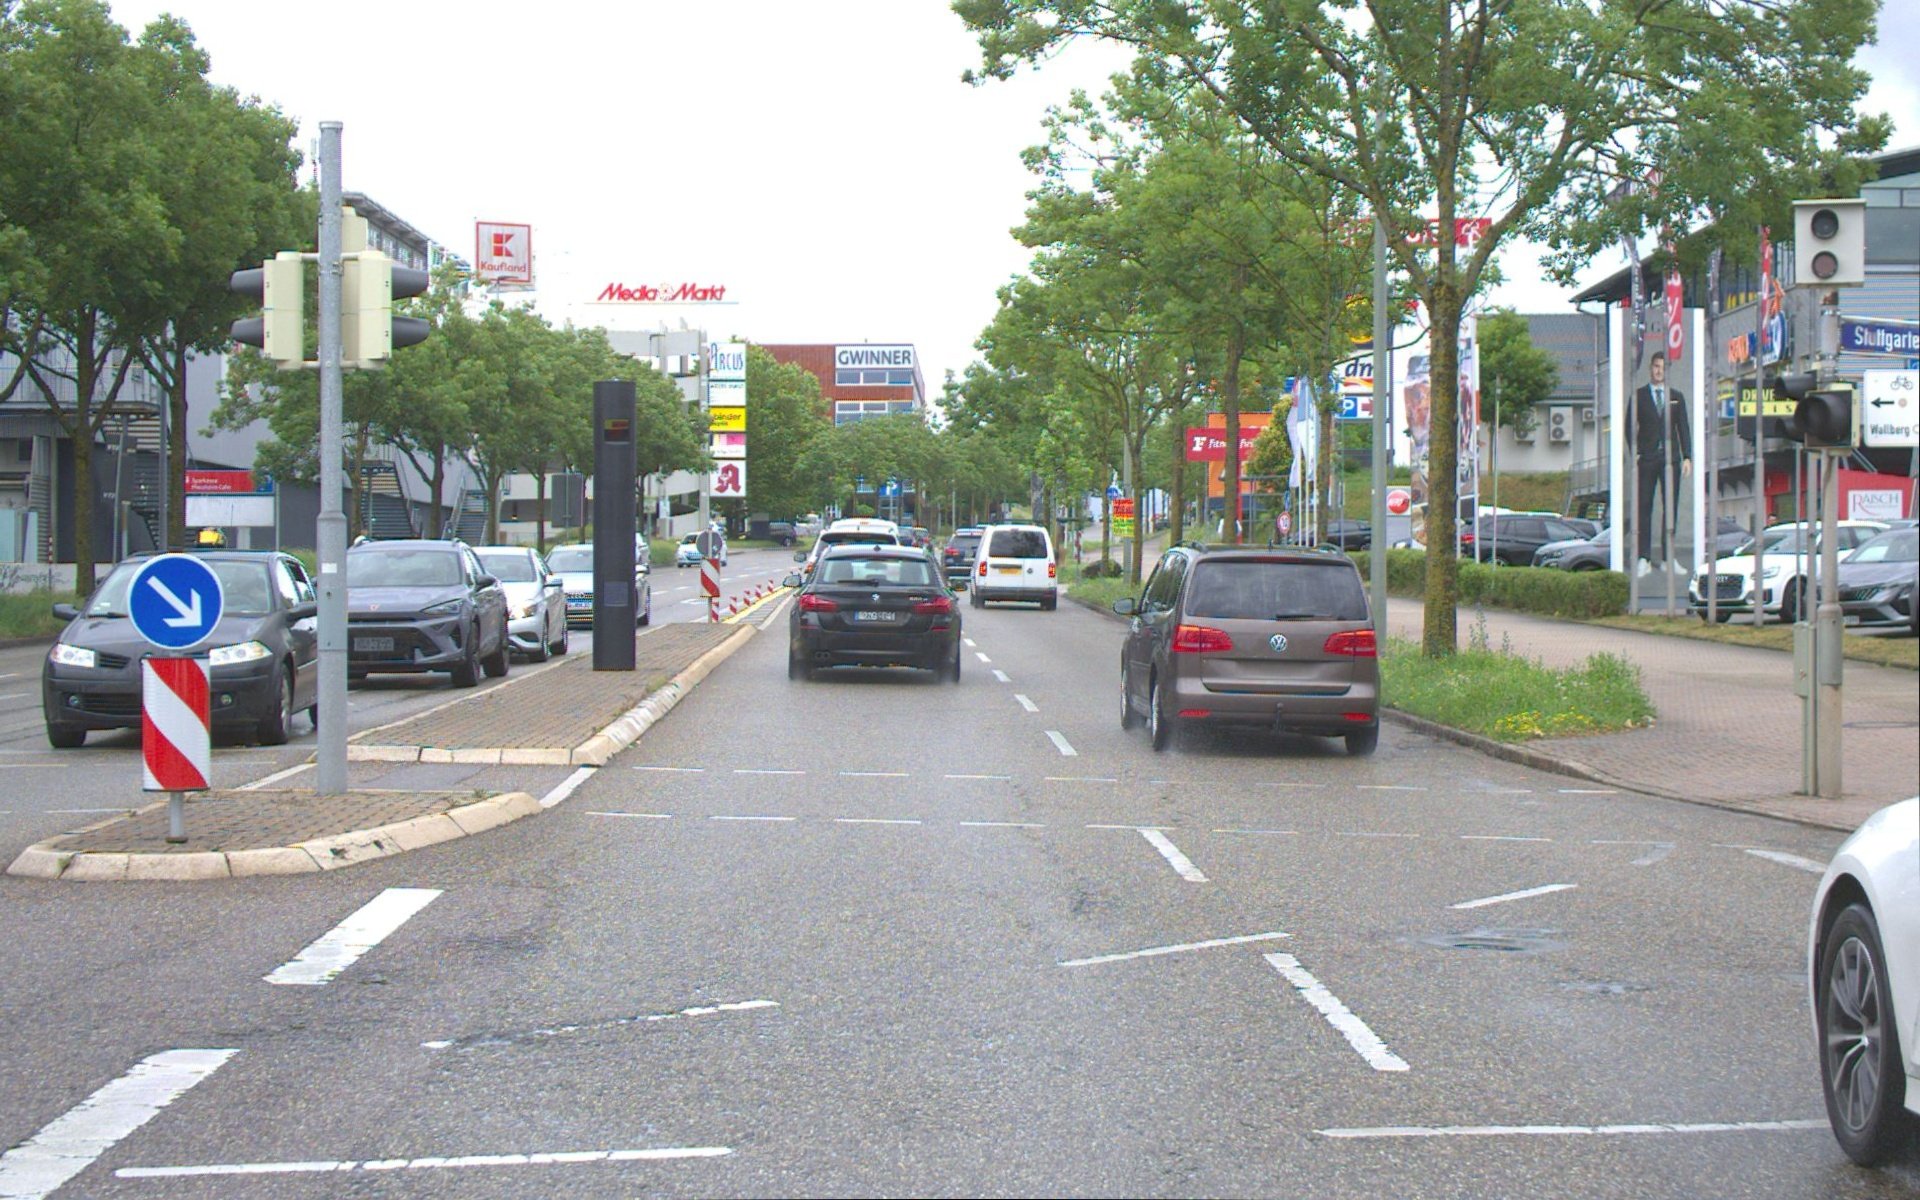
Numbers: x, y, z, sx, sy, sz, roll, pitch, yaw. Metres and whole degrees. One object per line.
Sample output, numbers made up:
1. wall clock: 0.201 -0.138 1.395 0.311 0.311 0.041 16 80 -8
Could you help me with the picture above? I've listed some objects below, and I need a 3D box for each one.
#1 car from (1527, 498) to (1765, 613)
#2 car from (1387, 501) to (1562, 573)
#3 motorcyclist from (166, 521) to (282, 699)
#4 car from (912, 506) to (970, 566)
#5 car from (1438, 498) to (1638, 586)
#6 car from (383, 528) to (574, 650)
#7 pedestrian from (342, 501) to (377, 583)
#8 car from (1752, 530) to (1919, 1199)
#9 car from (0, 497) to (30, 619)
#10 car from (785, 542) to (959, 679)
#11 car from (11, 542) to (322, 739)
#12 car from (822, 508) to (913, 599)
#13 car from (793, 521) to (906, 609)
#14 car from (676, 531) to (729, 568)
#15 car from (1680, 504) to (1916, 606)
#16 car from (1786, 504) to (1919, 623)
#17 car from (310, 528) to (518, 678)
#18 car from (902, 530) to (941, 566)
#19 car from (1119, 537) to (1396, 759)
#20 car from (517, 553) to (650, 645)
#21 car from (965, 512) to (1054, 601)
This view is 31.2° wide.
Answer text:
1. car: 12.853 -0.852 64.612 4.111 2.098 1.799 0 1 1
2. car: 12.509 -1.535 83.829 4.111 1.697 1.799 1 1 6
3. motorcyclist: -6.562 0.074 30.699 0.806 1.554 1.268 0 1 -2
4. car: -0.560 -1.921 104.117 1.685 1.678 3.403 2 0 0
5. car: 12.687 -1.276 75.559 4.111 1.898 1.799 0 1 1
6. car: -6.046 -0.179 43.651 1.840 1.372 4.863 -3 1 -2
7. pedestrian: -16.346 -1.571 93.570 0.858 2.210 0.846 0 1 -3
8. car: 3.053 0.654 6.745 1.801 1.539 4.620 2 1 -1
9. car: -16.817 -0.719 56.342 1.993 2.007 4.000 2 0 0
10. car: -0.944 0.085 37.685 1.781 1.393 4.000 1 1 -1
11. car: -5.929 0.251 26.091 1.682 1.372 4.001 0 1 -4
12. car: -2.148 -1.070 80.933 1.993 2.007 4.000 2 0 0
13. car: -1.818 -0.578 55.709 1.682 1.372 4.001 0 1 -4
14. car: -10.457 -2.047 139.977 1.943 1.443 4.000 1 1 -1
15. car: 13.127 -0.721 53.764 3.588 1.530 1.796 -2 2 -40
16. car: 12.843 -0.498 46.065 3.588 1.530 1.643 -1 1 -40
17. car: -5.707 -0.016 36.433 1.744 1.484 4.830 0 1 -4
18. car: -1.709 -2.288 151.238 1.619 1.490 3.360 2 0 -1
19. car: 2.312 0.316 27.750 1.801 1.581 4.451 2 1 0
20. car: -6.219 -0.048 57.225 1.723 1.393 4.789 -2 1 -1
21. car: 1.042 -0.941 73.890 1.782 1.860 4.000 0 1 -1
